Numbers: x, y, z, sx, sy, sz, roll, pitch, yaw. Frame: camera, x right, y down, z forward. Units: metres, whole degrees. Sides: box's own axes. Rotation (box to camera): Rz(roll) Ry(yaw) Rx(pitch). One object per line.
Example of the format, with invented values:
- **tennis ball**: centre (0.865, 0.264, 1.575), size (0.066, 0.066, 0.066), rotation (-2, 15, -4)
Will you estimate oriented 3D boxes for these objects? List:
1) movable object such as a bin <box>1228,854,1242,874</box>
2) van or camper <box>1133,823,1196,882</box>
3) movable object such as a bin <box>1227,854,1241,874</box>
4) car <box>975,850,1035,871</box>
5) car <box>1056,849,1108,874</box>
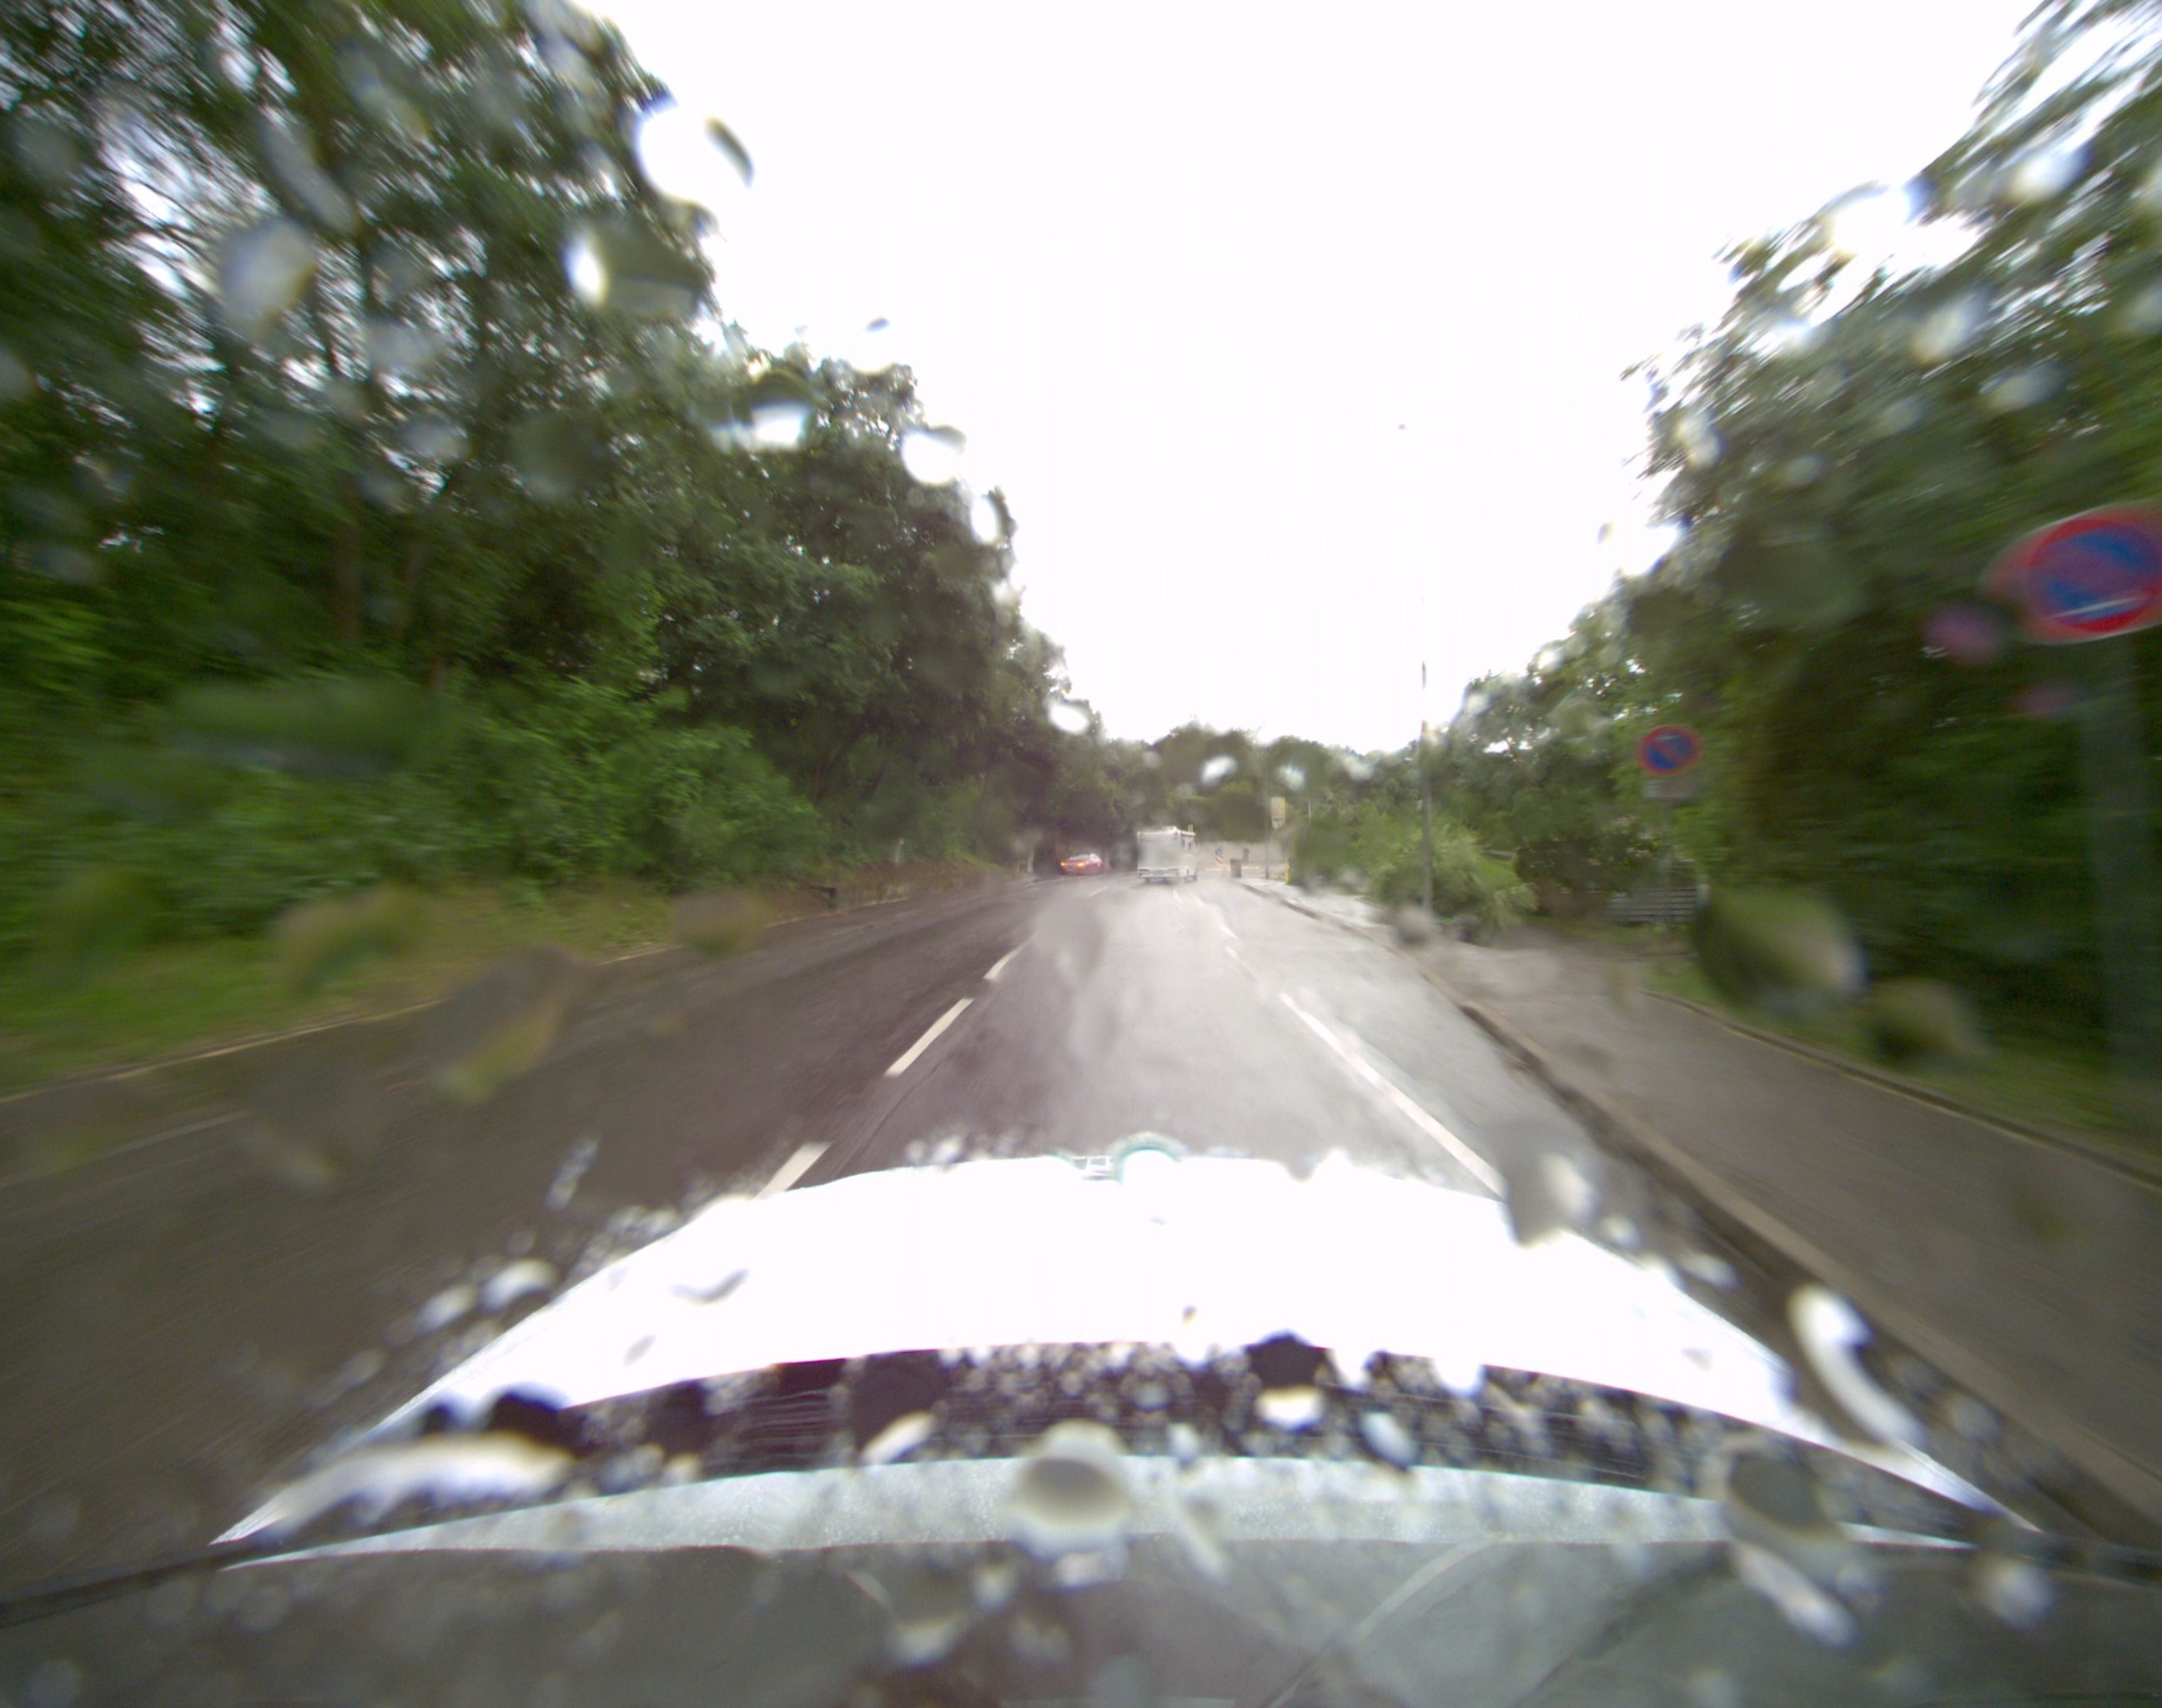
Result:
- **movable object such as a bin**: centre (8.900, 0.583, 47.121), size (0.772, 1.133, 0.740), rotation (0, 0, 11)
- **van or camper**: centre (4.598, -0.089, 43.648), size (2.522, 2.924, 5.970), rotation (0, 0, 14)
- **movable object such as a bin**: centre (8.609, 0.565, 45.862), size (0.772, 1.133, 0.740), rotation (0, 0, 11)
- **car**: centre (-5.675, 0.461, 60.854), size (3.954, 1.503, 1.888), rotation (-1, 0, 19)
- **car**: centre (0.116, 0.492, 54.732), size (1.977, 1.561, 4.677), rotation (0, 1, 20)
